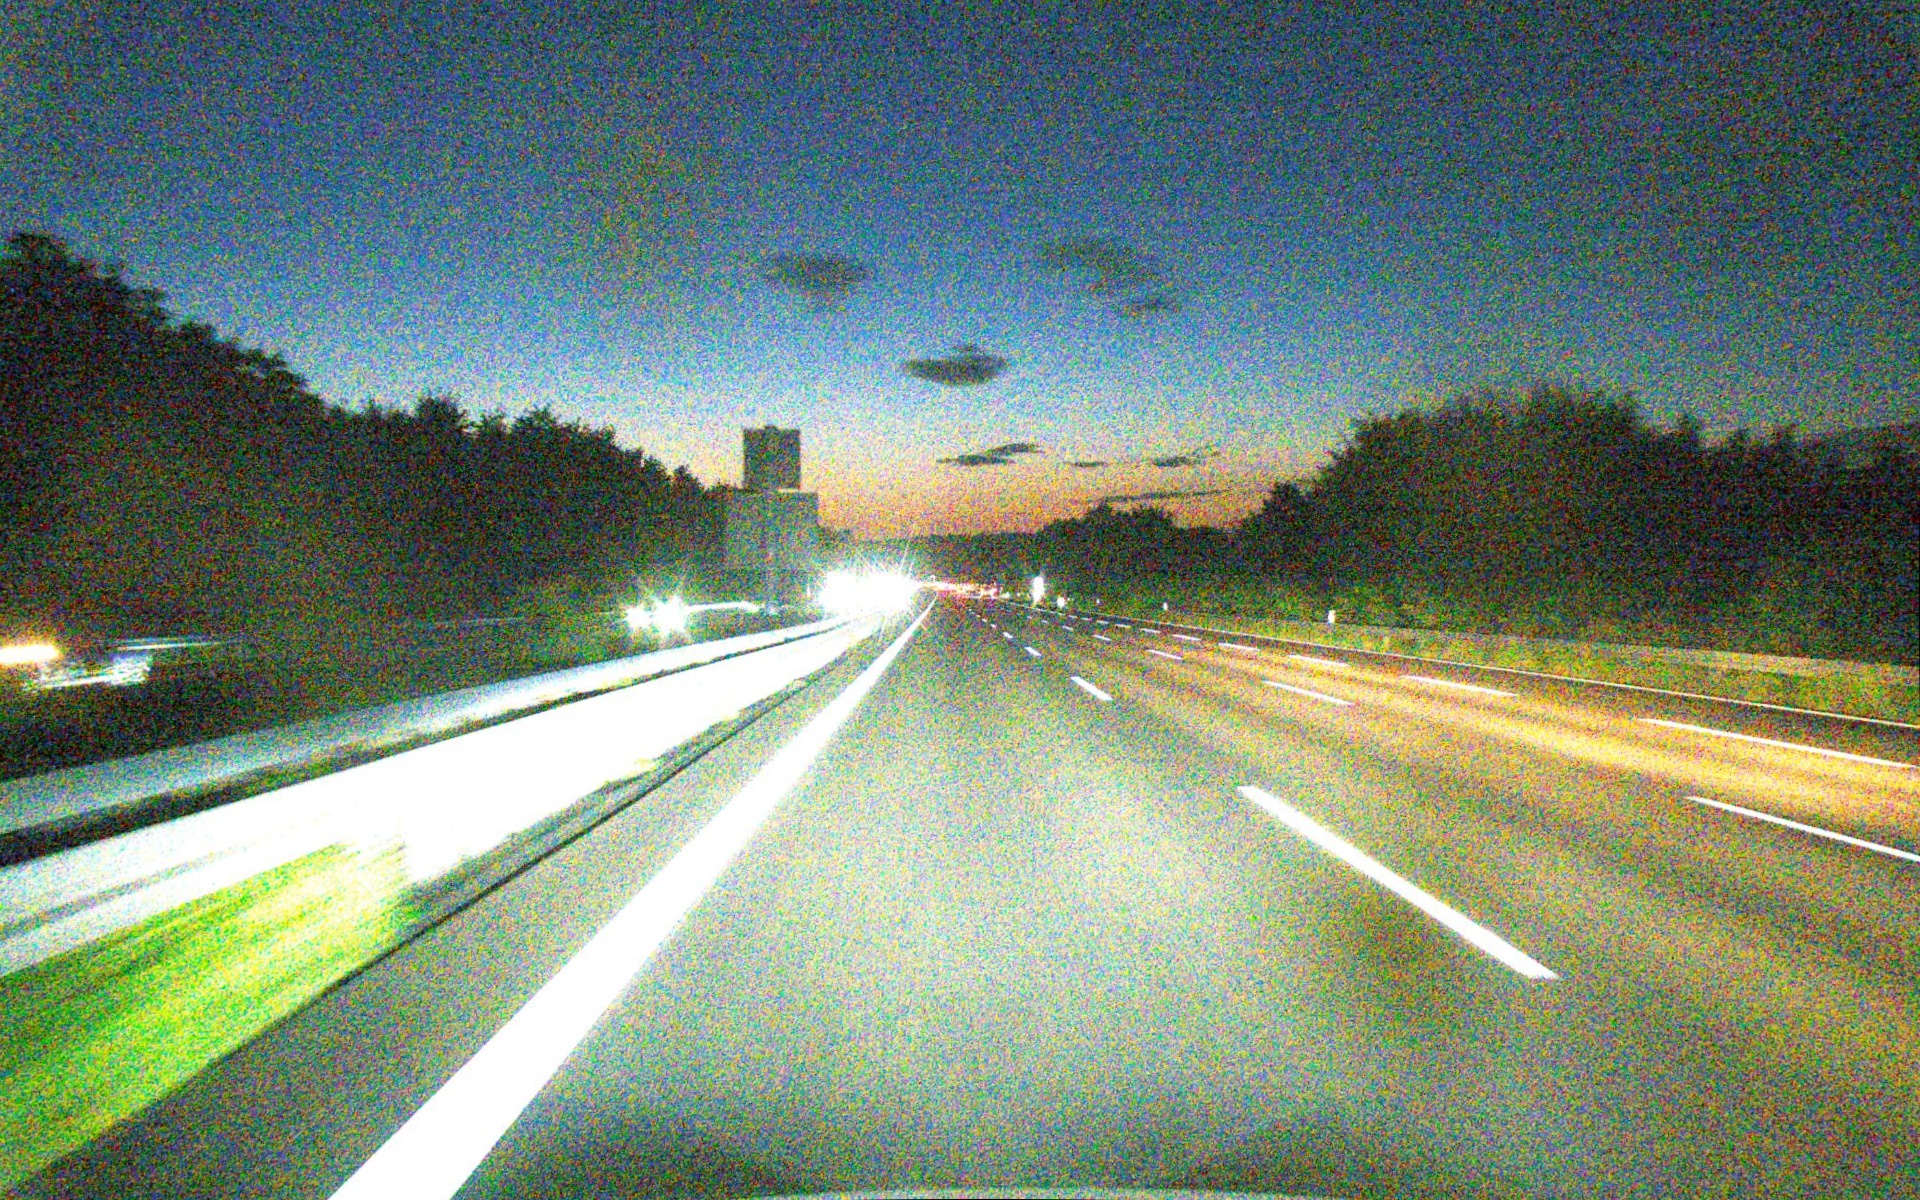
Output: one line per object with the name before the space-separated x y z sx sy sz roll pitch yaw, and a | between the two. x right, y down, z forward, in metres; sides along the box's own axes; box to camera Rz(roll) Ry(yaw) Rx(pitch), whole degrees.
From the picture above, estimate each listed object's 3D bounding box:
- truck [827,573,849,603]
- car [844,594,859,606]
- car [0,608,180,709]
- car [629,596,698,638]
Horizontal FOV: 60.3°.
truck | -18.014 -1.791 244.384 2.698 4.285 5.824 -2 0 -1
car | -14.594 -0.029 222.492 1.954 1.487 4.689 -2 0 -3
car | -16.067 1.006 29.469 1.953 1.578 5.003 -3 0 -1
car | -12.217 0.660 68.518 1.953 1.578 5.003 -3 0 -1
